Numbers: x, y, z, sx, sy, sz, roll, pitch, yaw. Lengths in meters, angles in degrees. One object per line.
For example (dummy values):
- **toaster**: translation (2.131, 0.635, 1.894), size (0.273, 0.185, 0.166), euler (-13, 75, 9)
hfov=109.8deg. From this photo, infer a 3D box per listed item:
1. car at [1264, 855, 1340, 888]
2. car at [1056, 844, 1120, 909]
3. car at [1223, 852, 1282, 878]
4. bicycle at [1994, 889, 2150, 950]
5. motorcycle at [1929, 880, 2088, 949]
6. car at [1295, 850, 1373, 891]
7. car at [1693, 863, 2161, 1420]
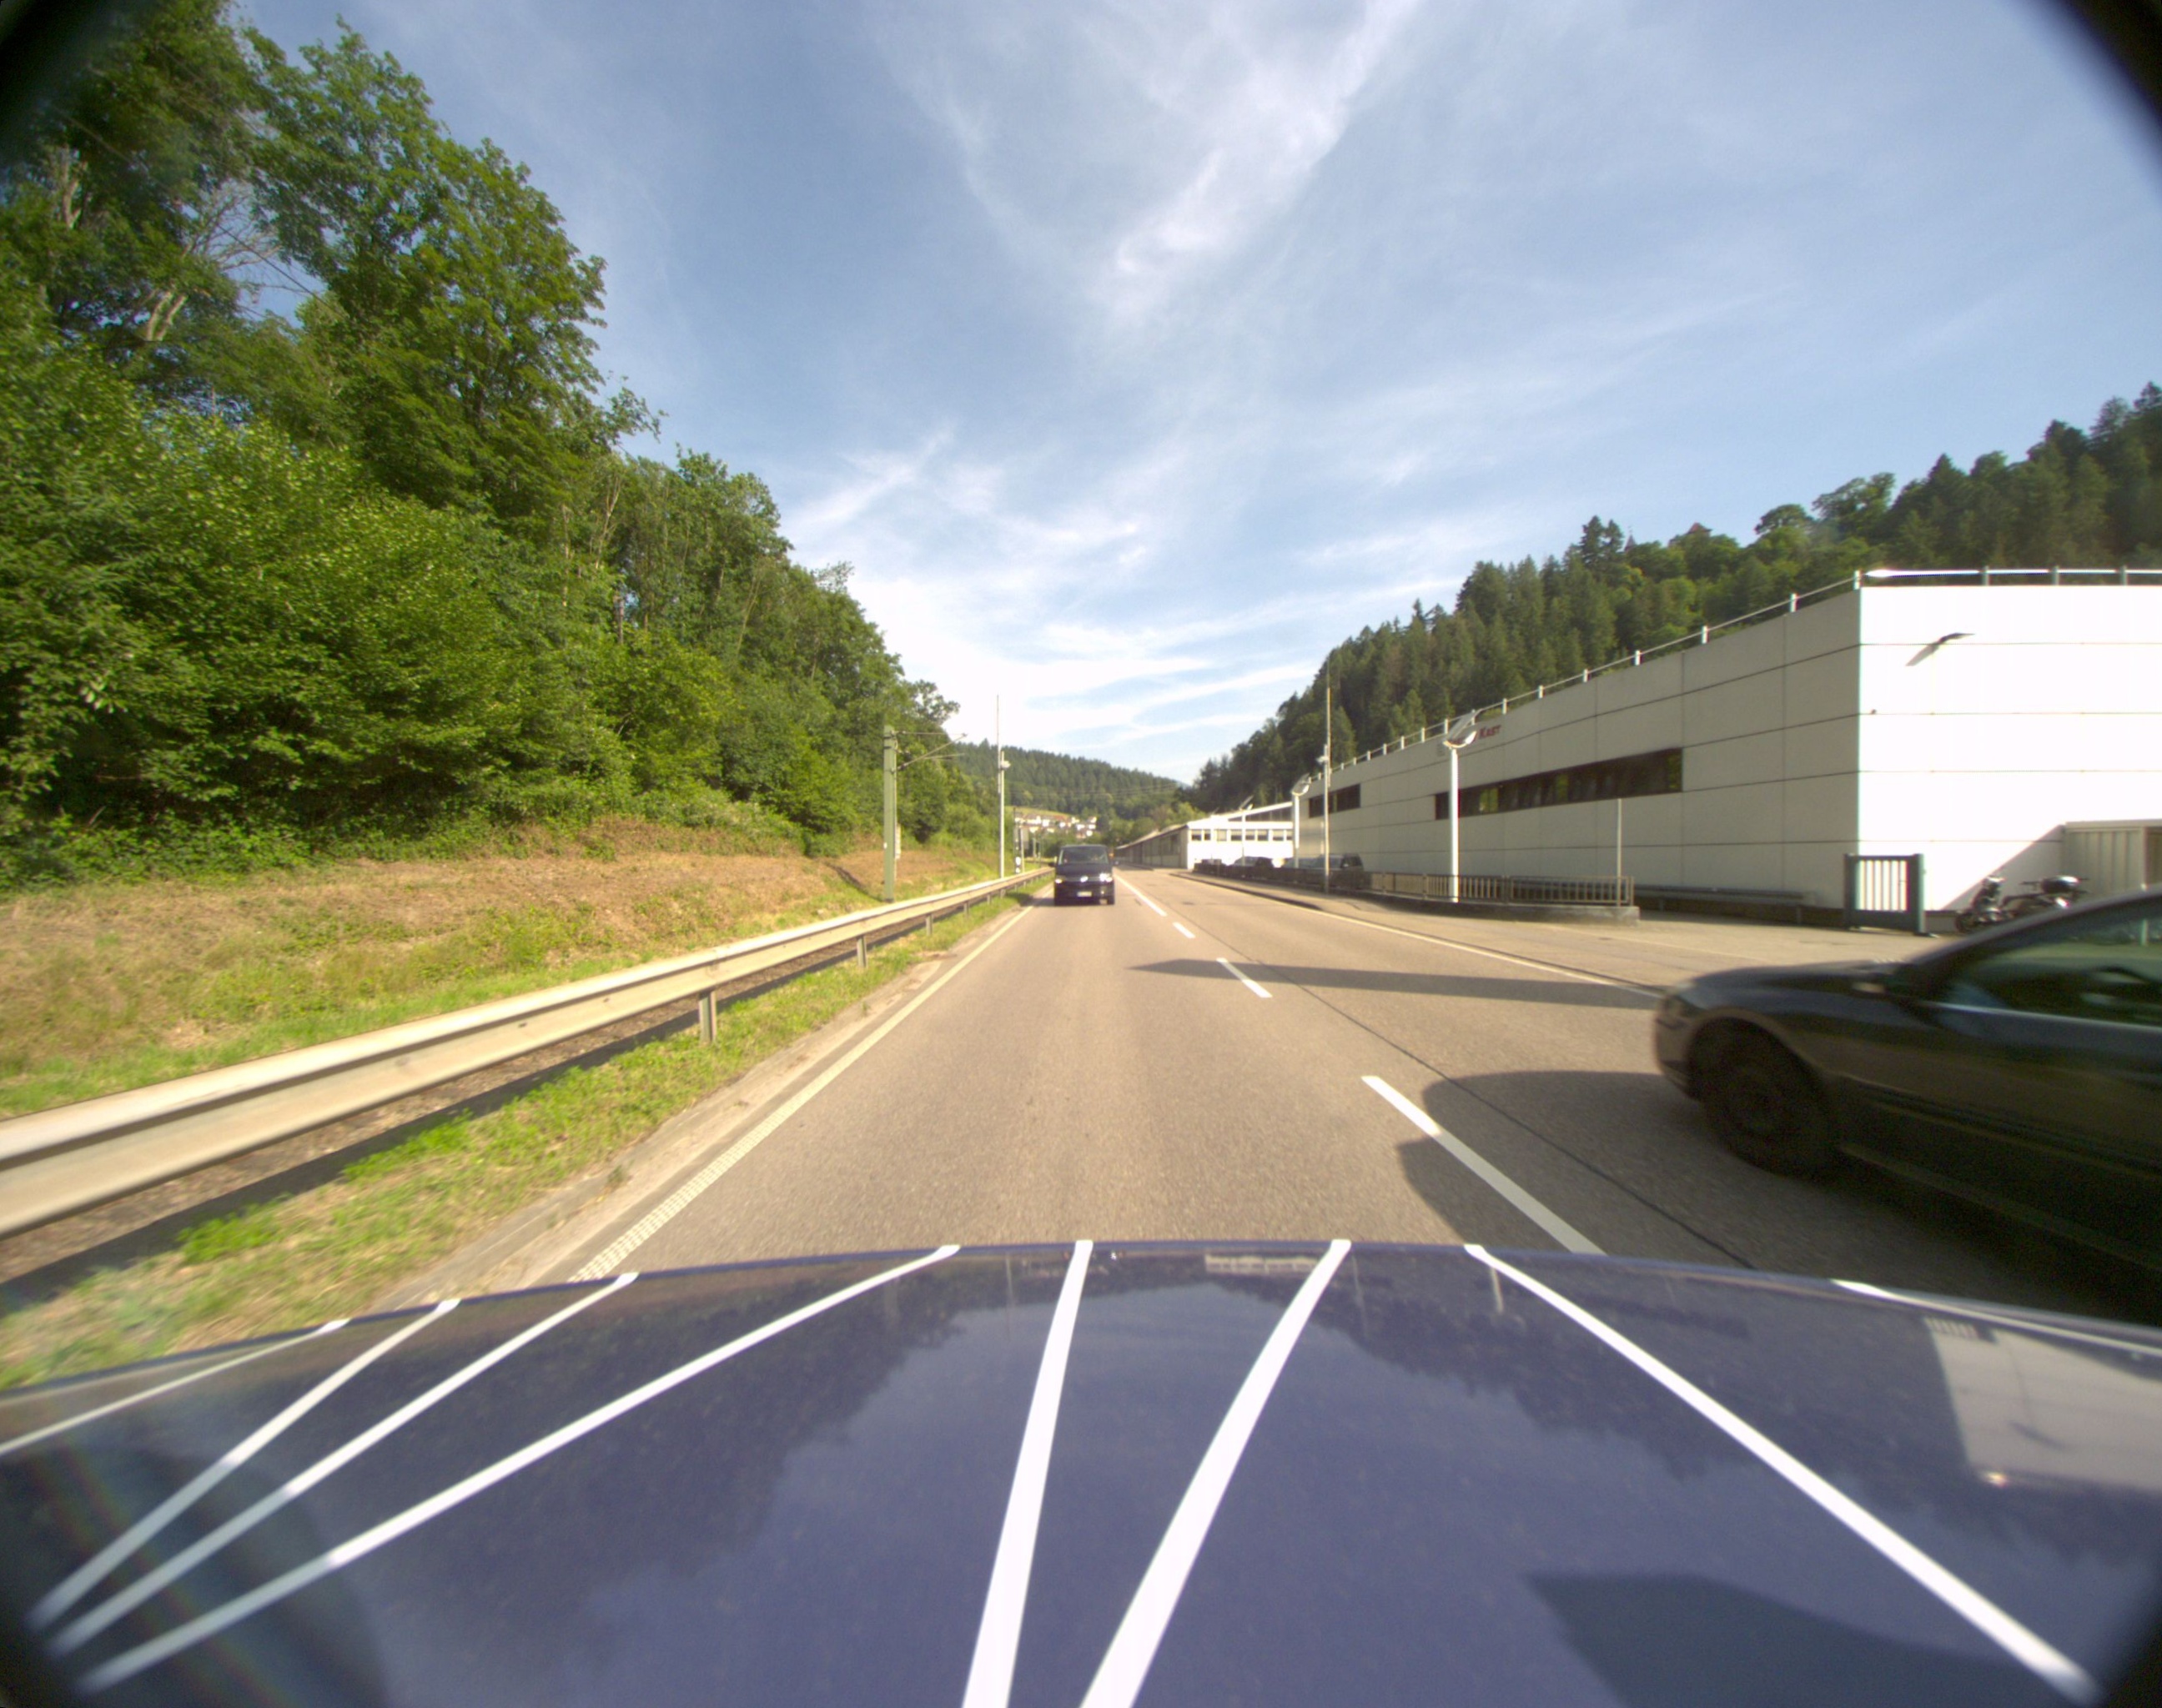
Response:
- **car**: translation (11.242, 0.853, 38.504), size (1.883, 1.486, 4.498), euler (0, 0, 43)
- **car**: translation (0.124, 0.671, 25.568), size (1.901, 1.927, 5.187), euler (-1, 0, -2)
- **car**: translation (11.292, 0.670, 49.877), size (1.883, 1.582, 4.184), euler (0, 0, 43)
- **bicycle**: translation (18.987, 1.222, 14.627), size (0.513, 0.984, 1.911), euler (1, 0, 1)
- **motorcycle**: translation (17.673, 1.106, 14.573), size (0.513, 1.146, 2.089), euler (1, 0, 1)
- **car**: translation (11.466, 0.709, 34.343), size (1.776, 1.698, 4.119), euler (0, 0, 43)
- **car**: translation (3.848, 0.823, 1.612), size (1.681, 1.477, 4.246), euler (-3, 0, 1)
